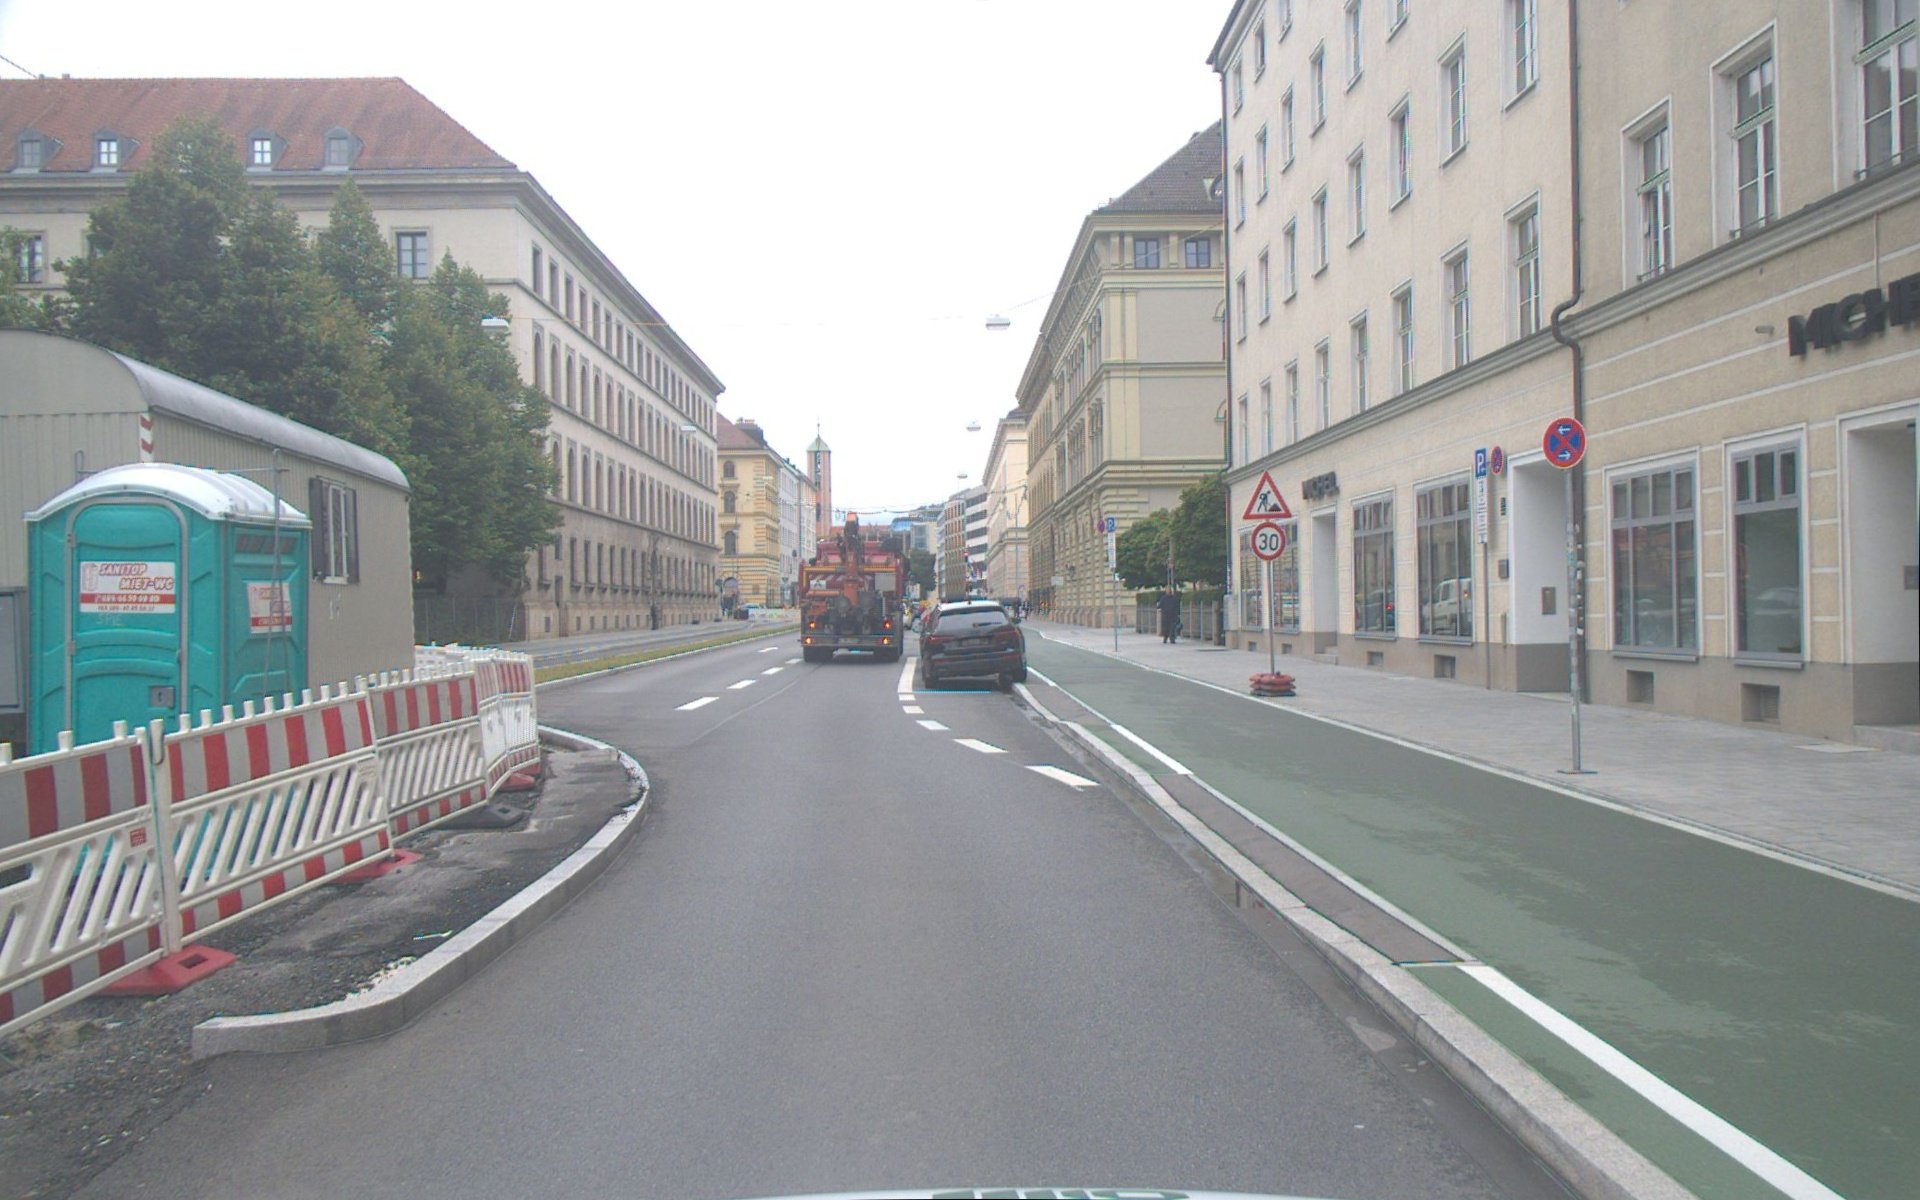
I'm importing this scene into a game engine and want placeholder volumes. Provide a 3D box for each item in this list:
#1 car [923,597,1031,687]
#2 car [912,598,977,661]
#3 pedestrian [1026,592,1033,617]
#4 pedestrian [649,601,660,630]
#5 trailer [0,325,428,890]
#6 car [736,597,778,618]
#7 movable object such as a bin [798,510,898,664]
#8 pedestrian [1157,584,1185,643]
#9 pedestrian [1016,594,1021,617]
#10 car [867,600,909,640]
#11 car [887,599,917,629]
[{"bbox_3d":[0.236,0.716,30.600,1.765,1.506,4.685,-1,0,-2],"label":"car"},{"bbox_3d":[-0.411,0.735,42.544,1.577,1.521,3.423,-1,0,-1],"label":"car"},{"bbox_3d":[5.247,0.323,124.758,0.436,1.868,0.556,-1,0,0],"label":"pedestrian"},{"bbox_3d":[-19.593,1.016,106.093,0.577,1.863,0.498,0,0,-3],"label":"pedestrian"},{"bbox_3d":[-6.278,0.054,13.353,2.184,3.300,7.509,-1,0,-6],"label":"trailer"},{"bbox_3d":[-20.197,0.746,164.696,3.905,1.982,2.000,-1,0,1],"label":"car"},{"bbox_3d":[-2.794,-0.305,42.531,2.374,3.675,5.849,0,0,-2],"label":"movable object such as a bin"},{"bbox_3d":[6.785,0.432,53.261,0.774,1.868,0.777,-1,0,0],"label":"pedestrian"},{"bbox_3d":[4.387,0.426,124.720,0.330,1.701,0.440,-1,0,0],"label":"pedestrian"},{"bbox_3d":[-2.870,0.786,66.725,1.577,1.521,3.423,-1,0,-1],"label":"car"},{"bbox_3d":[-3.114,0.739,89.357,1.577,1.521,3.423,-1,0,-1],"label":"car"}]
